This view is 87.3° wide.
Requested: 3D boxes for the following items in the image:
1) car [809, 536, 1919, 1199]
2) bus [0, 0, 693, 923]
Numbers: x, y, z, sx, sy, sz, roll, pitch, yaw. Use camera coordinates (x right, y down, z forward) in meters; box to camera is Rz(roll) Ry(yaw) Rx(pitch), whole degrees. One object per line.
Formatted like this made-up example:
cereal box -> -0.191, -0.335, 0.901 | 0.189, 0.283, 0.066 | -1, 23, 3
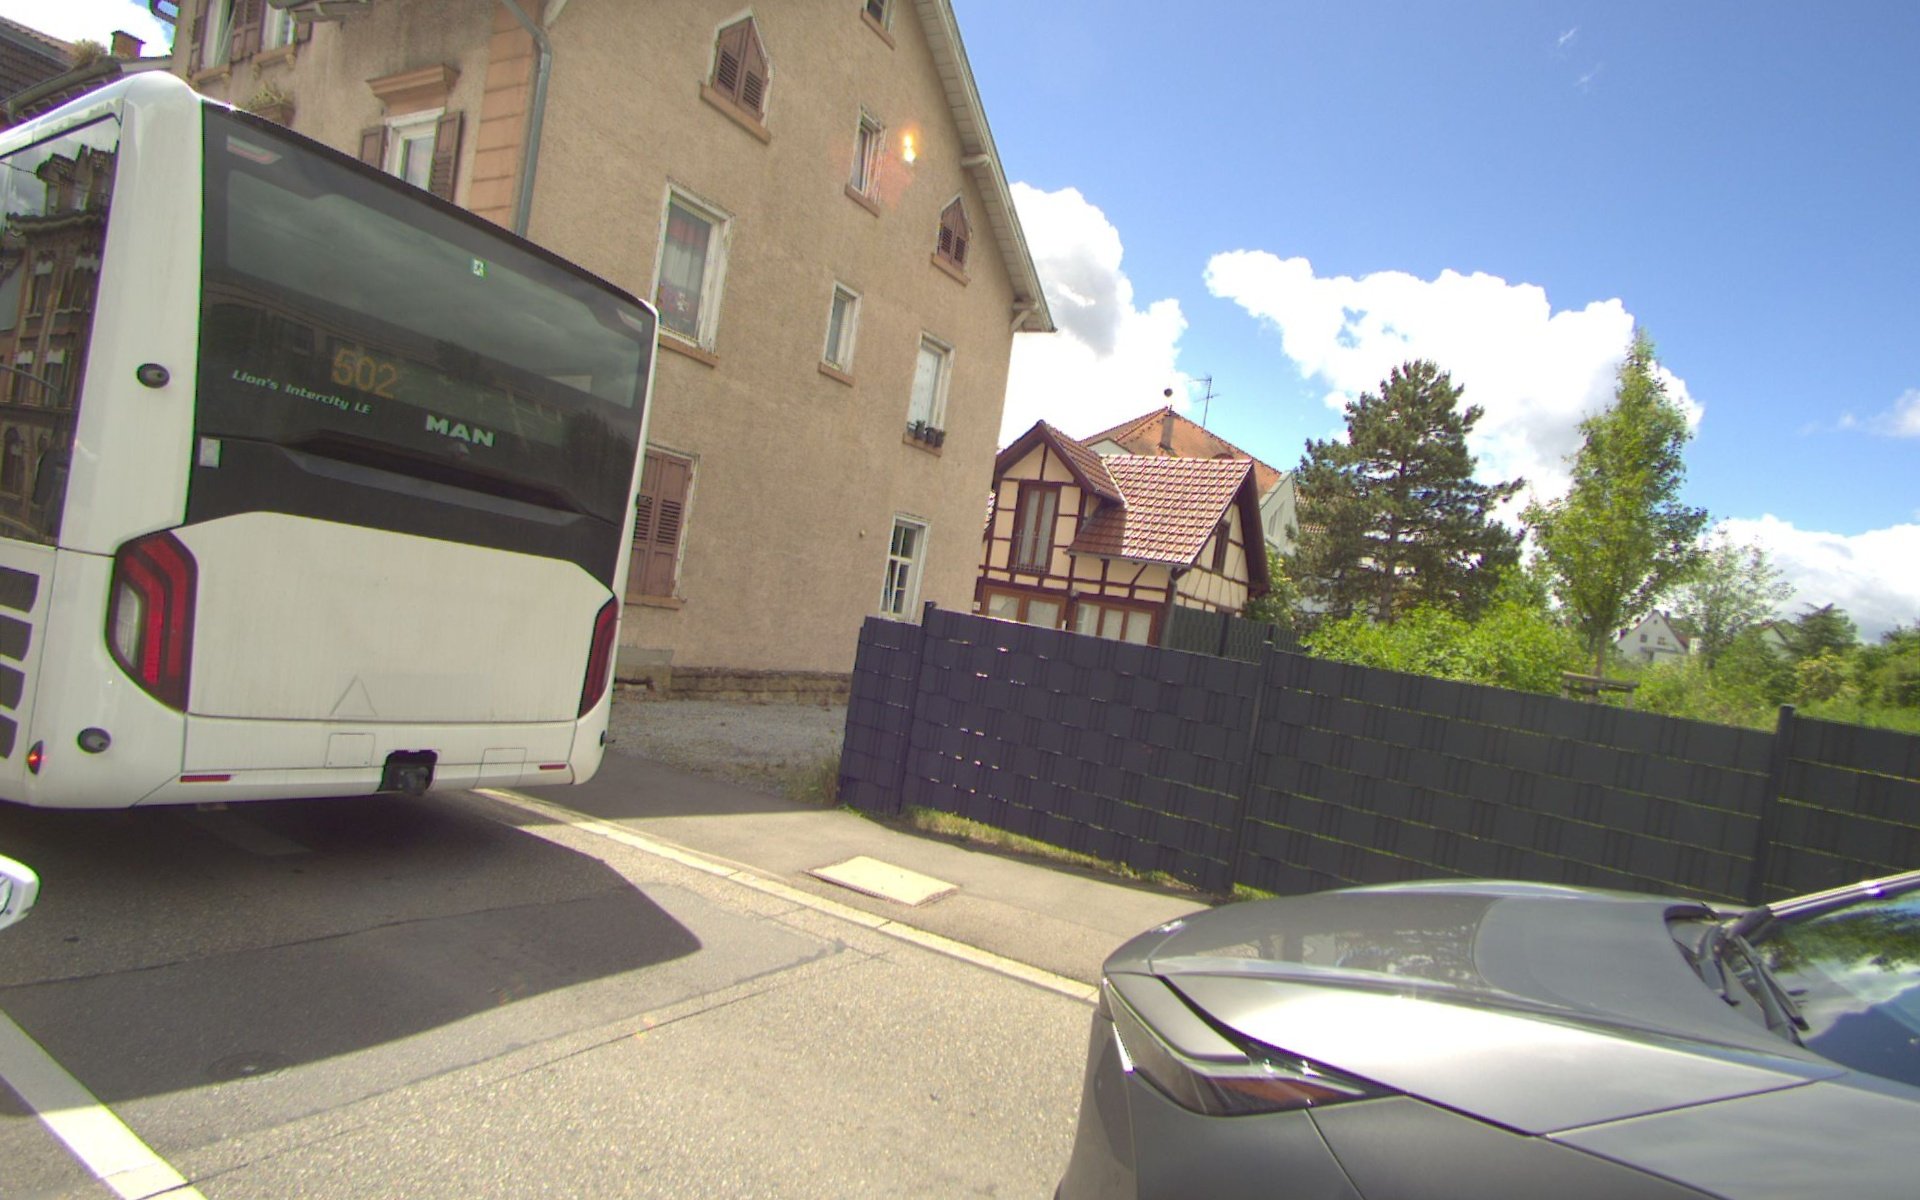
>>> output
car -> 2.212, 1.047, 1.398 | 4.605, 1.631, 1.924 | 7, -2, 32
bus -> -7.542, -0.964, 7.813 | 12.256, 3.194, 2.676 | 7, 0, 32
